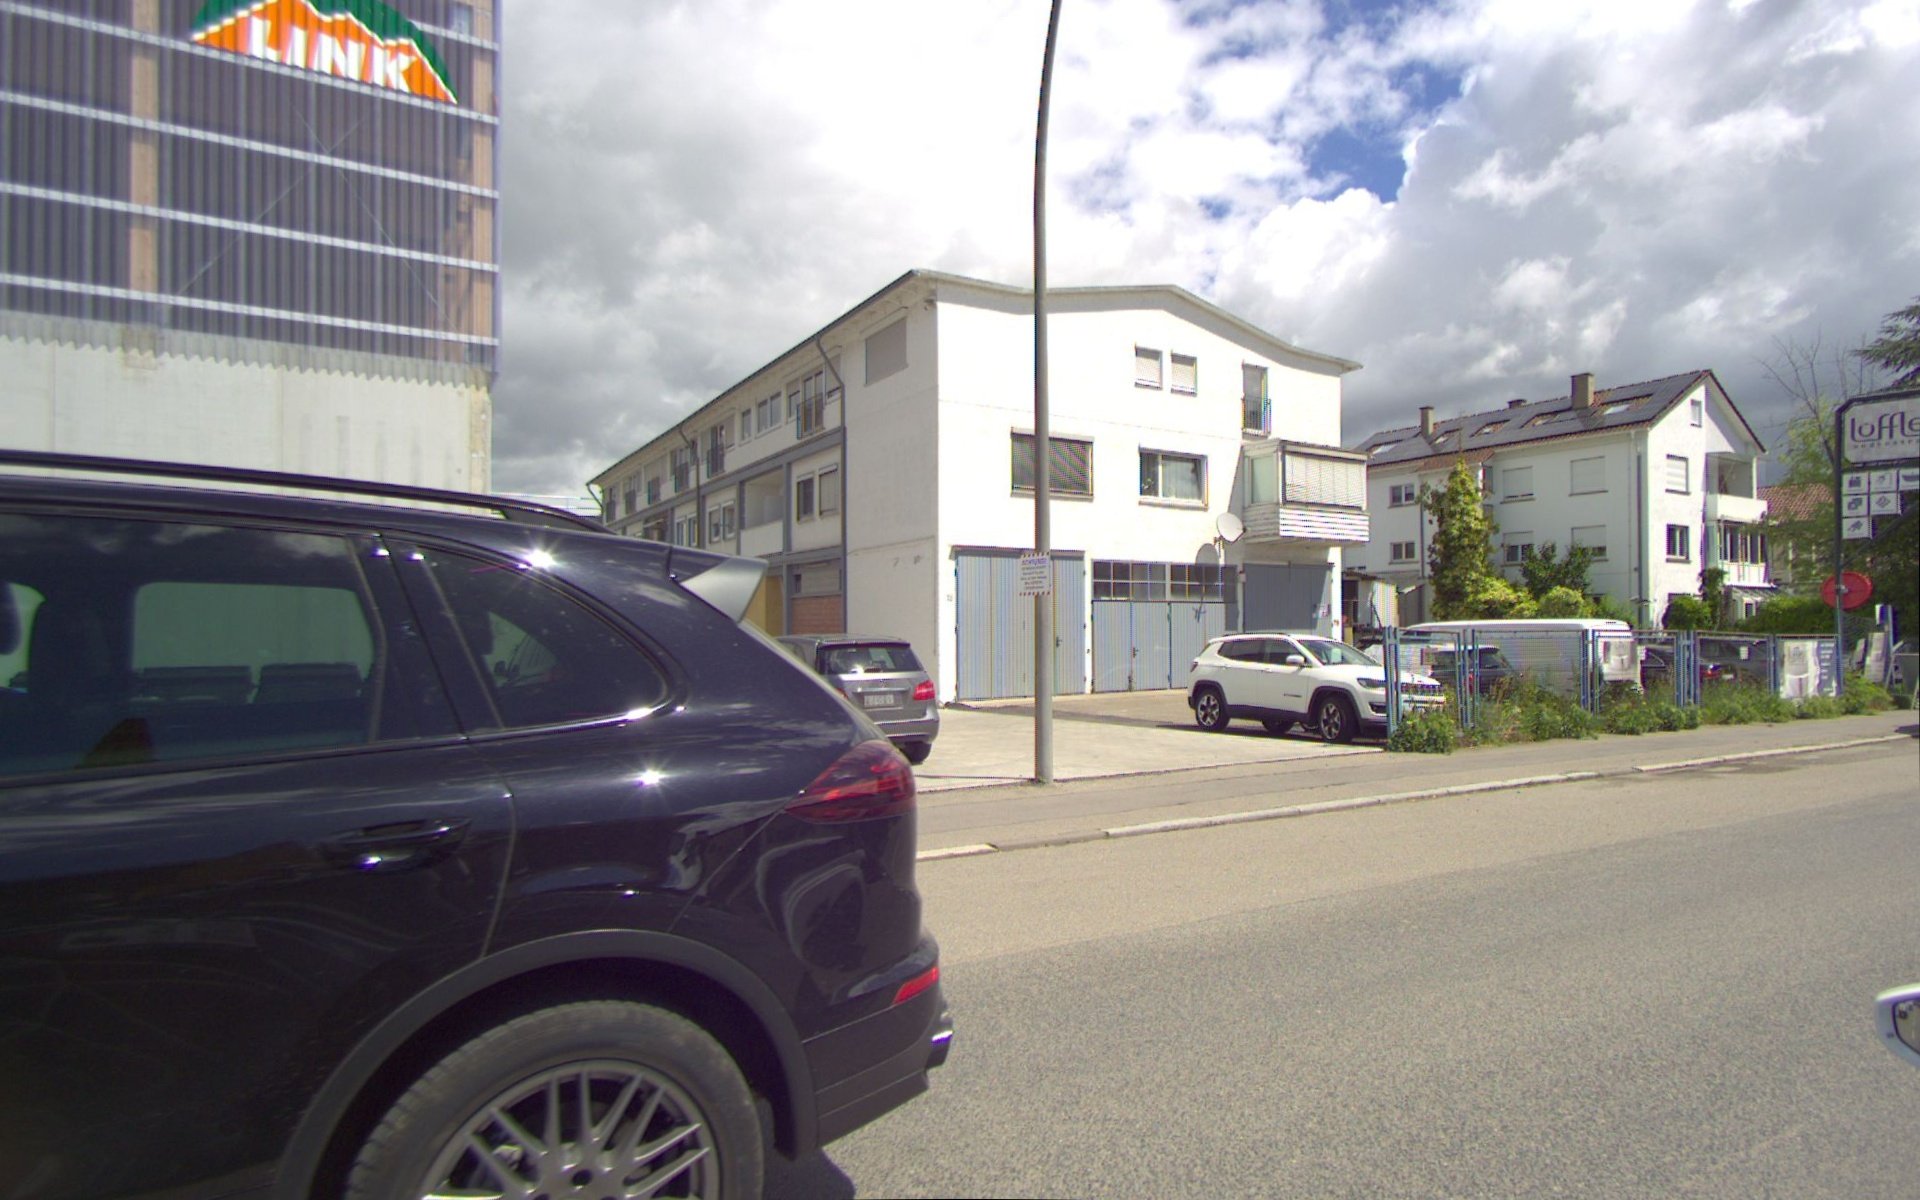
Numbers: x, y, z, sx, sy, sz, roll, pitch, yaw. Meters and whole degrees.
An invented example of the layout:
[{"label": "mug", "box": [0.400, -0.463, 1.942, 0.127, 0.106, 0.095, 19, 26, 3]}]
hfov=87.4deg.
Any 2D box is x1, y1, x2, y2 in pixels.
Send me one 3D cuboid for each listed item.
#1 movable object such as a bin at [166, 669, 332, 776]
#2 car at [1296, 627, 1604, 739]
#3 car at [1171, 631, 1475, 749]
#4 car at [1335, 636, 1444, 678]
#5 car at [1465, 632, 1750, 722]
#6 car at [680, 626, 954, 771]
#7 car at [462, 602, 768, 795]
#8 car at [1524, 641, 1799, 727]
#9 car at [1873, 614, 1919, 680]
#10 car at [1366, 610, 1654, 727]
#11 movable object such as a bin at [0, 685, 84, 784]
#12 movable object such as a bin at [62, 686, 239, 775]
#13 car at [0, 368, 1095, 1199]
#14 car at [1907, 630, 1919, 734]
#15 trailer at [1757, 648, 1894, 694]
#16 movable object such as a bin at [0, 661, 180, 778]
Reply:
[{"label": "movable object such as a bin", "box": [-10.017, 1.694, 14.258, 1.796, 1.374, 0.953, 1, -3, -29]}, {"label": "car", "box": [7.999, 1.317, 16.805, 1.969, 1.586, 4.258, 5, -4, -30]}, {"label": "car", "box": [5.548, 1.346, 15.895, 1.968, 1.586, 4.261, 5, -4, -29]}, {"label": "car", "box": [17.384, 2.259, 40.614, 4.329, 1.564, 1.983, 1, -2, -33]}, {"label": "car", "box": [12.462, 1.448, 19.613, 1.969, 1.504, 4.258, 5, -4, -30]}, {"label": "car", "box": [-2.033, 1.218, 12.969, 1.806, 1.524, 4.437, 1, -5, -33]}, {"label": "car", "box": [-4.039, 1.027, 11.169, 2.174, 1.654, 4.602, 1, -5, -33]}, {"label": "car", "box": [14.382, 1.681, 20.843, 1.969, 1.504, 4.258, 5, -4, -30]}, {"label": "car", "box": [26.324, 1.231, 26.852, 3.959, 1.679, 1.981, 1, -2, -34]}, {"label": "car", "box": [10.002, 1.223, 18.599, 1.969, 1.859, 4.258, 5, -4, -30]}, {"label": "movable object such as a bin", "box": [-10.517, 1.506, 11.389, 0.703, 1.044, 0.740, 1, -3, -29]}, {"label": "movable object such as a bin", "box": [-9.553, 1.517, 11.929, 1.500, 0.931, 0.740, 1, -3, -29]}, {"label": "car", "box": [-2.113, 0.588, 2.045, 4.495, 1.756, 1.984, 1, -3, -31]}, {"label": "car", "box": [17.316, 1.299, 16.244, 4.312, 1.624, 1.783, 1, -3, -31]}, {"label": "trailer", "box": [25.018, 2.006, 29.007, 4.329, 1.197, 1.849, 1, -2, -33]}, {"label": "movable object such as a bin", "box": [-11.610, 1.546, 13.362, 1.796, 1.374, 0.953, 1, 1, -29]}]
